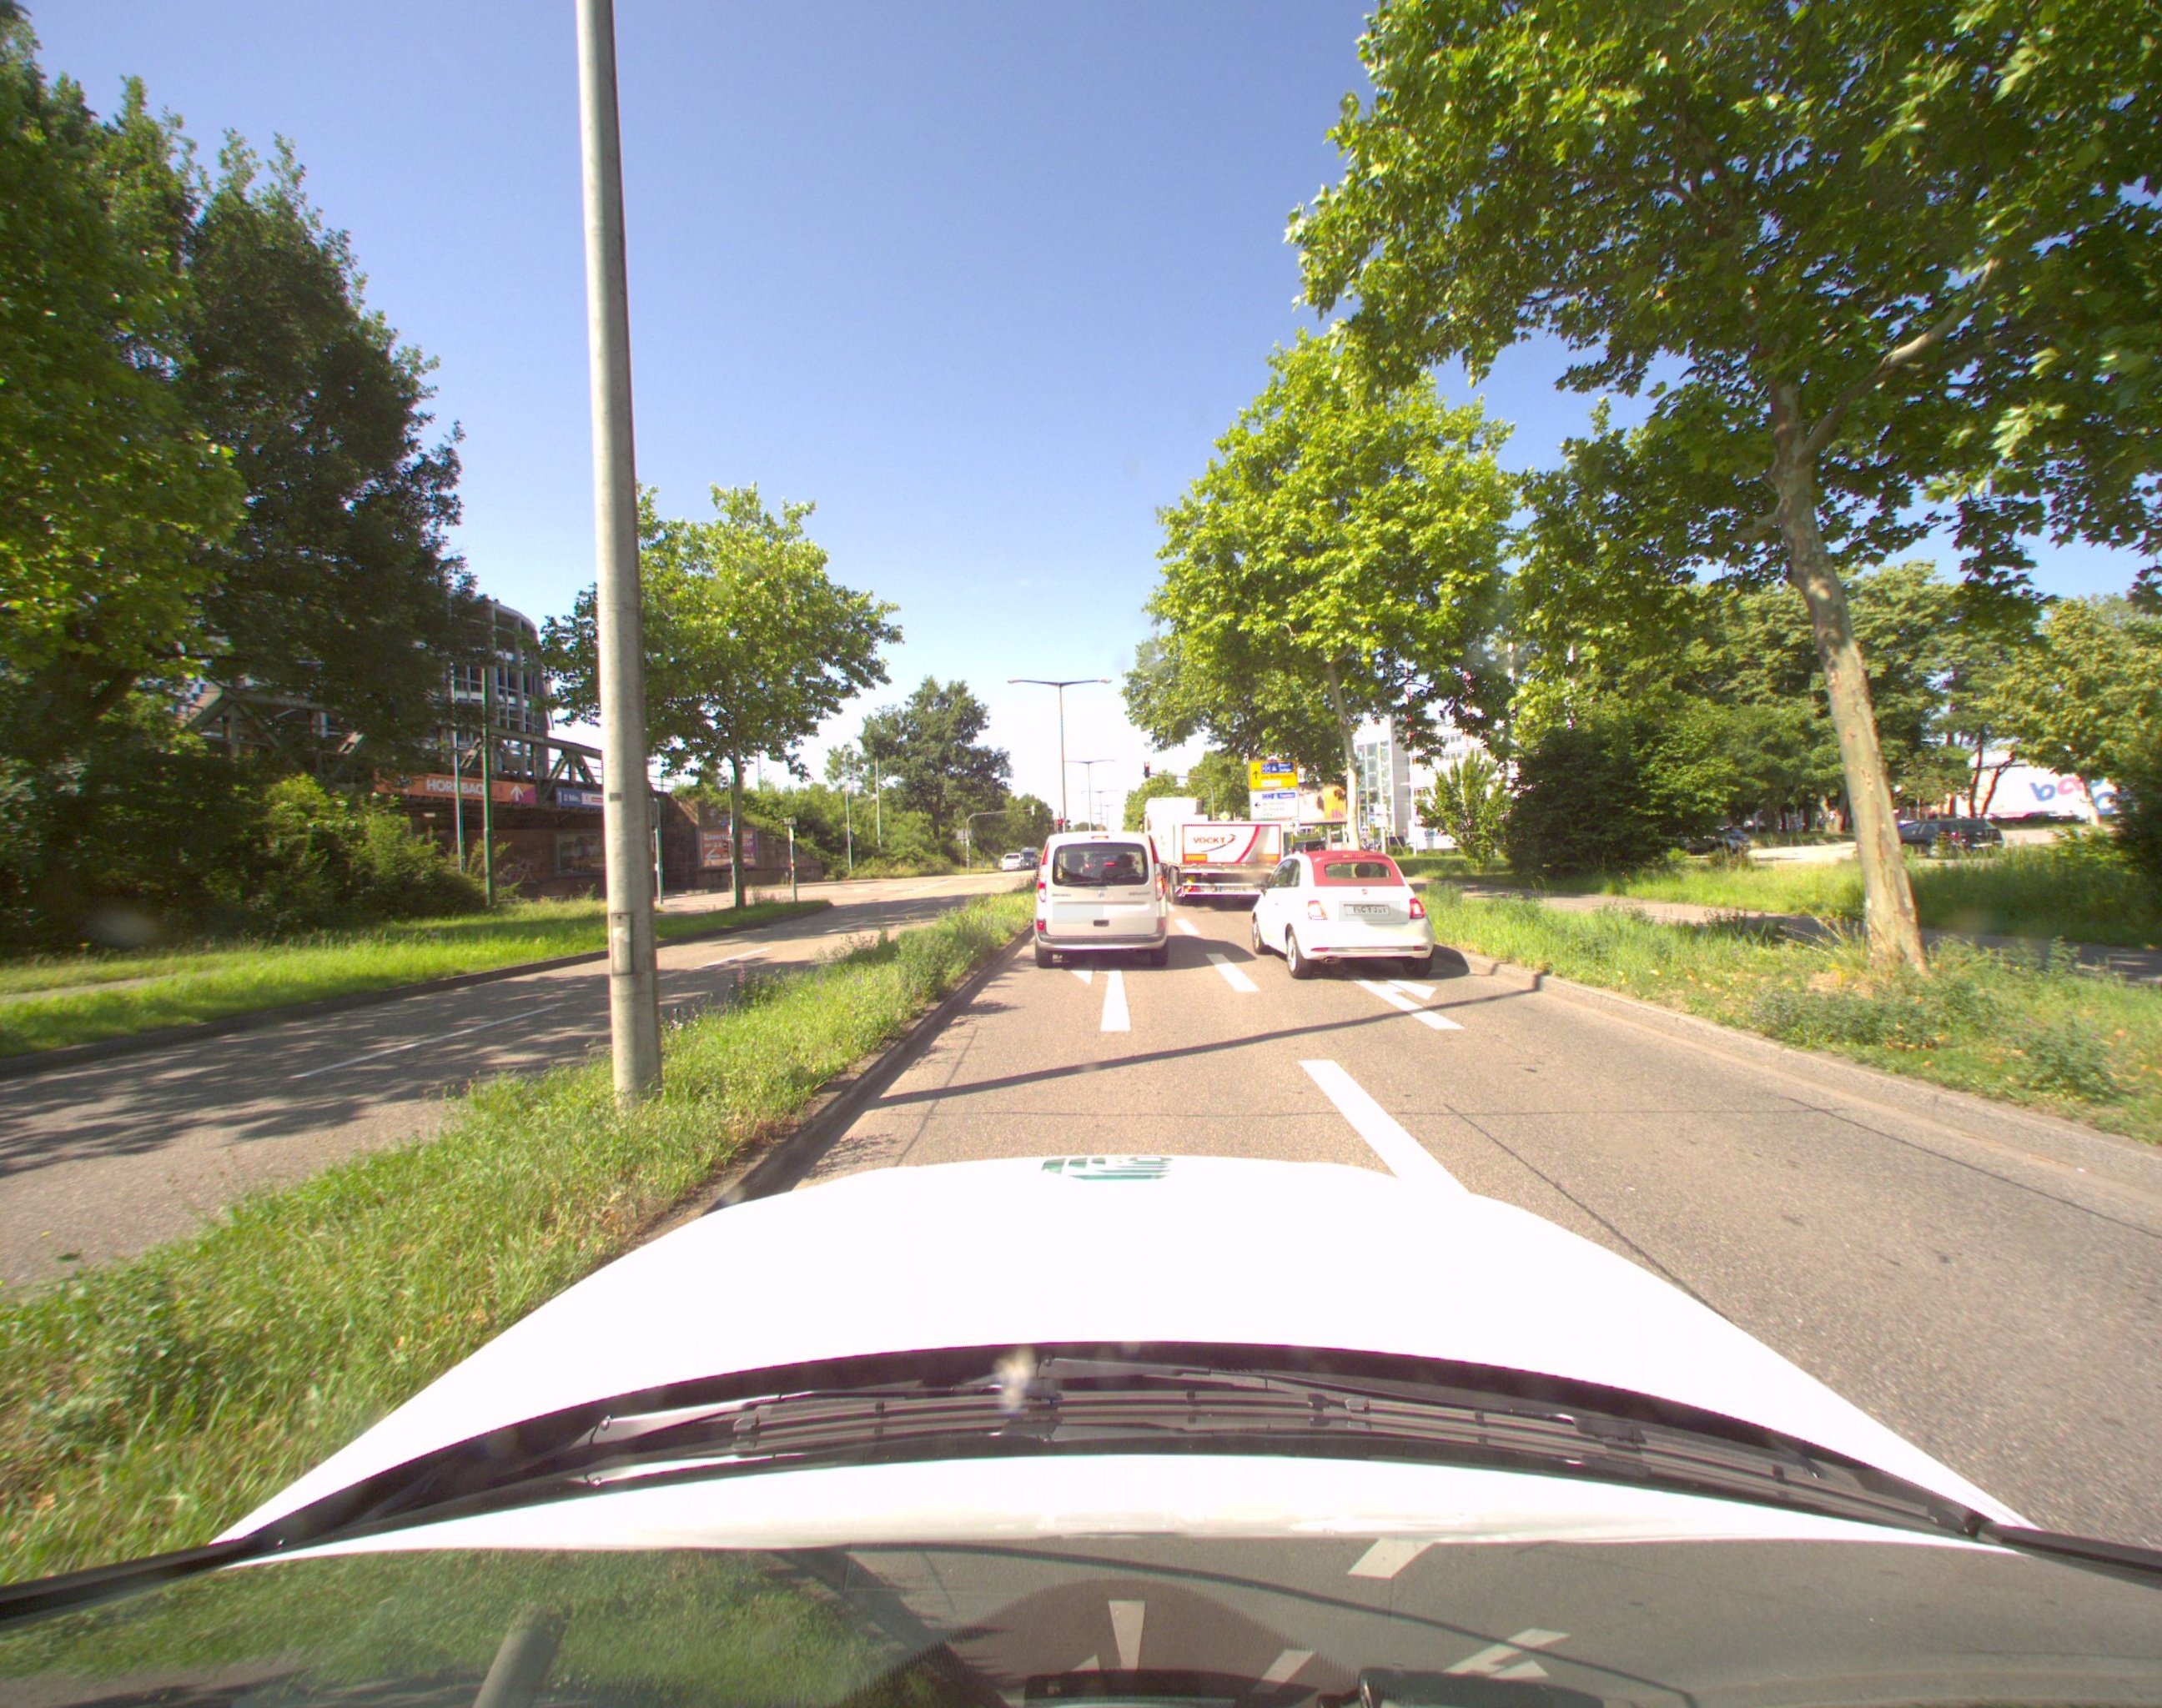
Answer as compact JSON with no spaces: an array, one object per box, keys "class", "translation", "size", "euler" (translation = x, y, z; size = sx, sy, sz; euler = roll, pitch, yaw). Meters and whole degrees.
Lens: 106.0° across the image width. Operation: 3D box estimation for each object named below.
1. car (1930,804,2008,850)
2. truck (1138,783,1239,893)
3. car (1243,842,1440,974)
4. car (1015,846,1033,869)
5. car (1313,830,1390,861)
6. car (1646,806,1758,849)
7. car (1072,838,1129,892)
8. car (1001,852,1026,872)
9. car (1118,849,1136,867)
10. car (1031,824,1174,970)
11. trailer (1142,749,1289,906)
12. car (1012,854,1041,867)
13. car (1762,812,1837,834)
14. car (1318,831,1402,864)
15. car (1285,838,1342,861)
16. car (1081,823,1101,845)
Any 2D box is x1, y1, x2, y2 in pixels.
[{"class":"car","translation":[31.611,-0.926,29.049],"size":[3.746,1.515,1.754],"euler":[-1,0,-43]},{"class":"truck","translation":[3.977,-0.551,31.917],"size":[3.061,3.758,7.477],"euler":[-1,0,1]},{"class":"car","translation":[3.251,0.606,10.838],"size":[1.654,1.436,3.523],"euler":[-1,0,3]},{"class":"car","translation":[-7.004,0.407,99.521],"size":[2.055,2.614,5.860],"euler":[-1,0,-4]},{"class":"car","translation":[15.733,-0.494,47.560],"size":[3.966,1.662,1.726],"euler":[-1,0,7]},{"class":"car","translation":[27.255,-1.103,35.816],"size":[1.778,1.716,3.703],"euler":[-1,0,-45]},{"class":"car","translation":[0.631,0.355,28.224],"size":[1.804,1.684,3.999],"euler":[-1,0,-1]},{"class":"car","translation":[-6.980,0.834,84.321],"size":[1.987,1.891,4.988],"euler":[-4,0,1]},{"class":"car","translation":[5.472,0.464,97.468],"size":[1.986,2.013,4.002],"euler":[-1,0,2]},{"class":"car","translation":[0.319,0.538,12.110],"size":[1.743,1.772,3.950],"euler":[-1,0,1]},{"class":"trailer","translation":[3.715,-0.637,25.829],"size":[3.004,3.740,12.246],"euler":[-1,0,2]},{"class":"car","translation":[-6.217,0.750,92.403],"size":[1.920,1.409,4.192],"euler":[-1,0,-25]},{"class":"car","translation":[54.981,-2.333,62.382],"size":[1.727,1.486,3.961],"euler":[-1,0,-30]},{"class":"car","translation":[14.954,-0.358,43.784],"size":[3.966,1.662,1.726],"euler":[-1,0,7]},{"class":"car","translation":[17.807,-0.330,62.451],"size":[3.966,1.662,1.726],"euler":[-1,0,7]},{"class":"car","translation":[0.962,-1.996,82.046],"size":[1.710,2.013,3.995],"euler":[-1,0,-4]}]
